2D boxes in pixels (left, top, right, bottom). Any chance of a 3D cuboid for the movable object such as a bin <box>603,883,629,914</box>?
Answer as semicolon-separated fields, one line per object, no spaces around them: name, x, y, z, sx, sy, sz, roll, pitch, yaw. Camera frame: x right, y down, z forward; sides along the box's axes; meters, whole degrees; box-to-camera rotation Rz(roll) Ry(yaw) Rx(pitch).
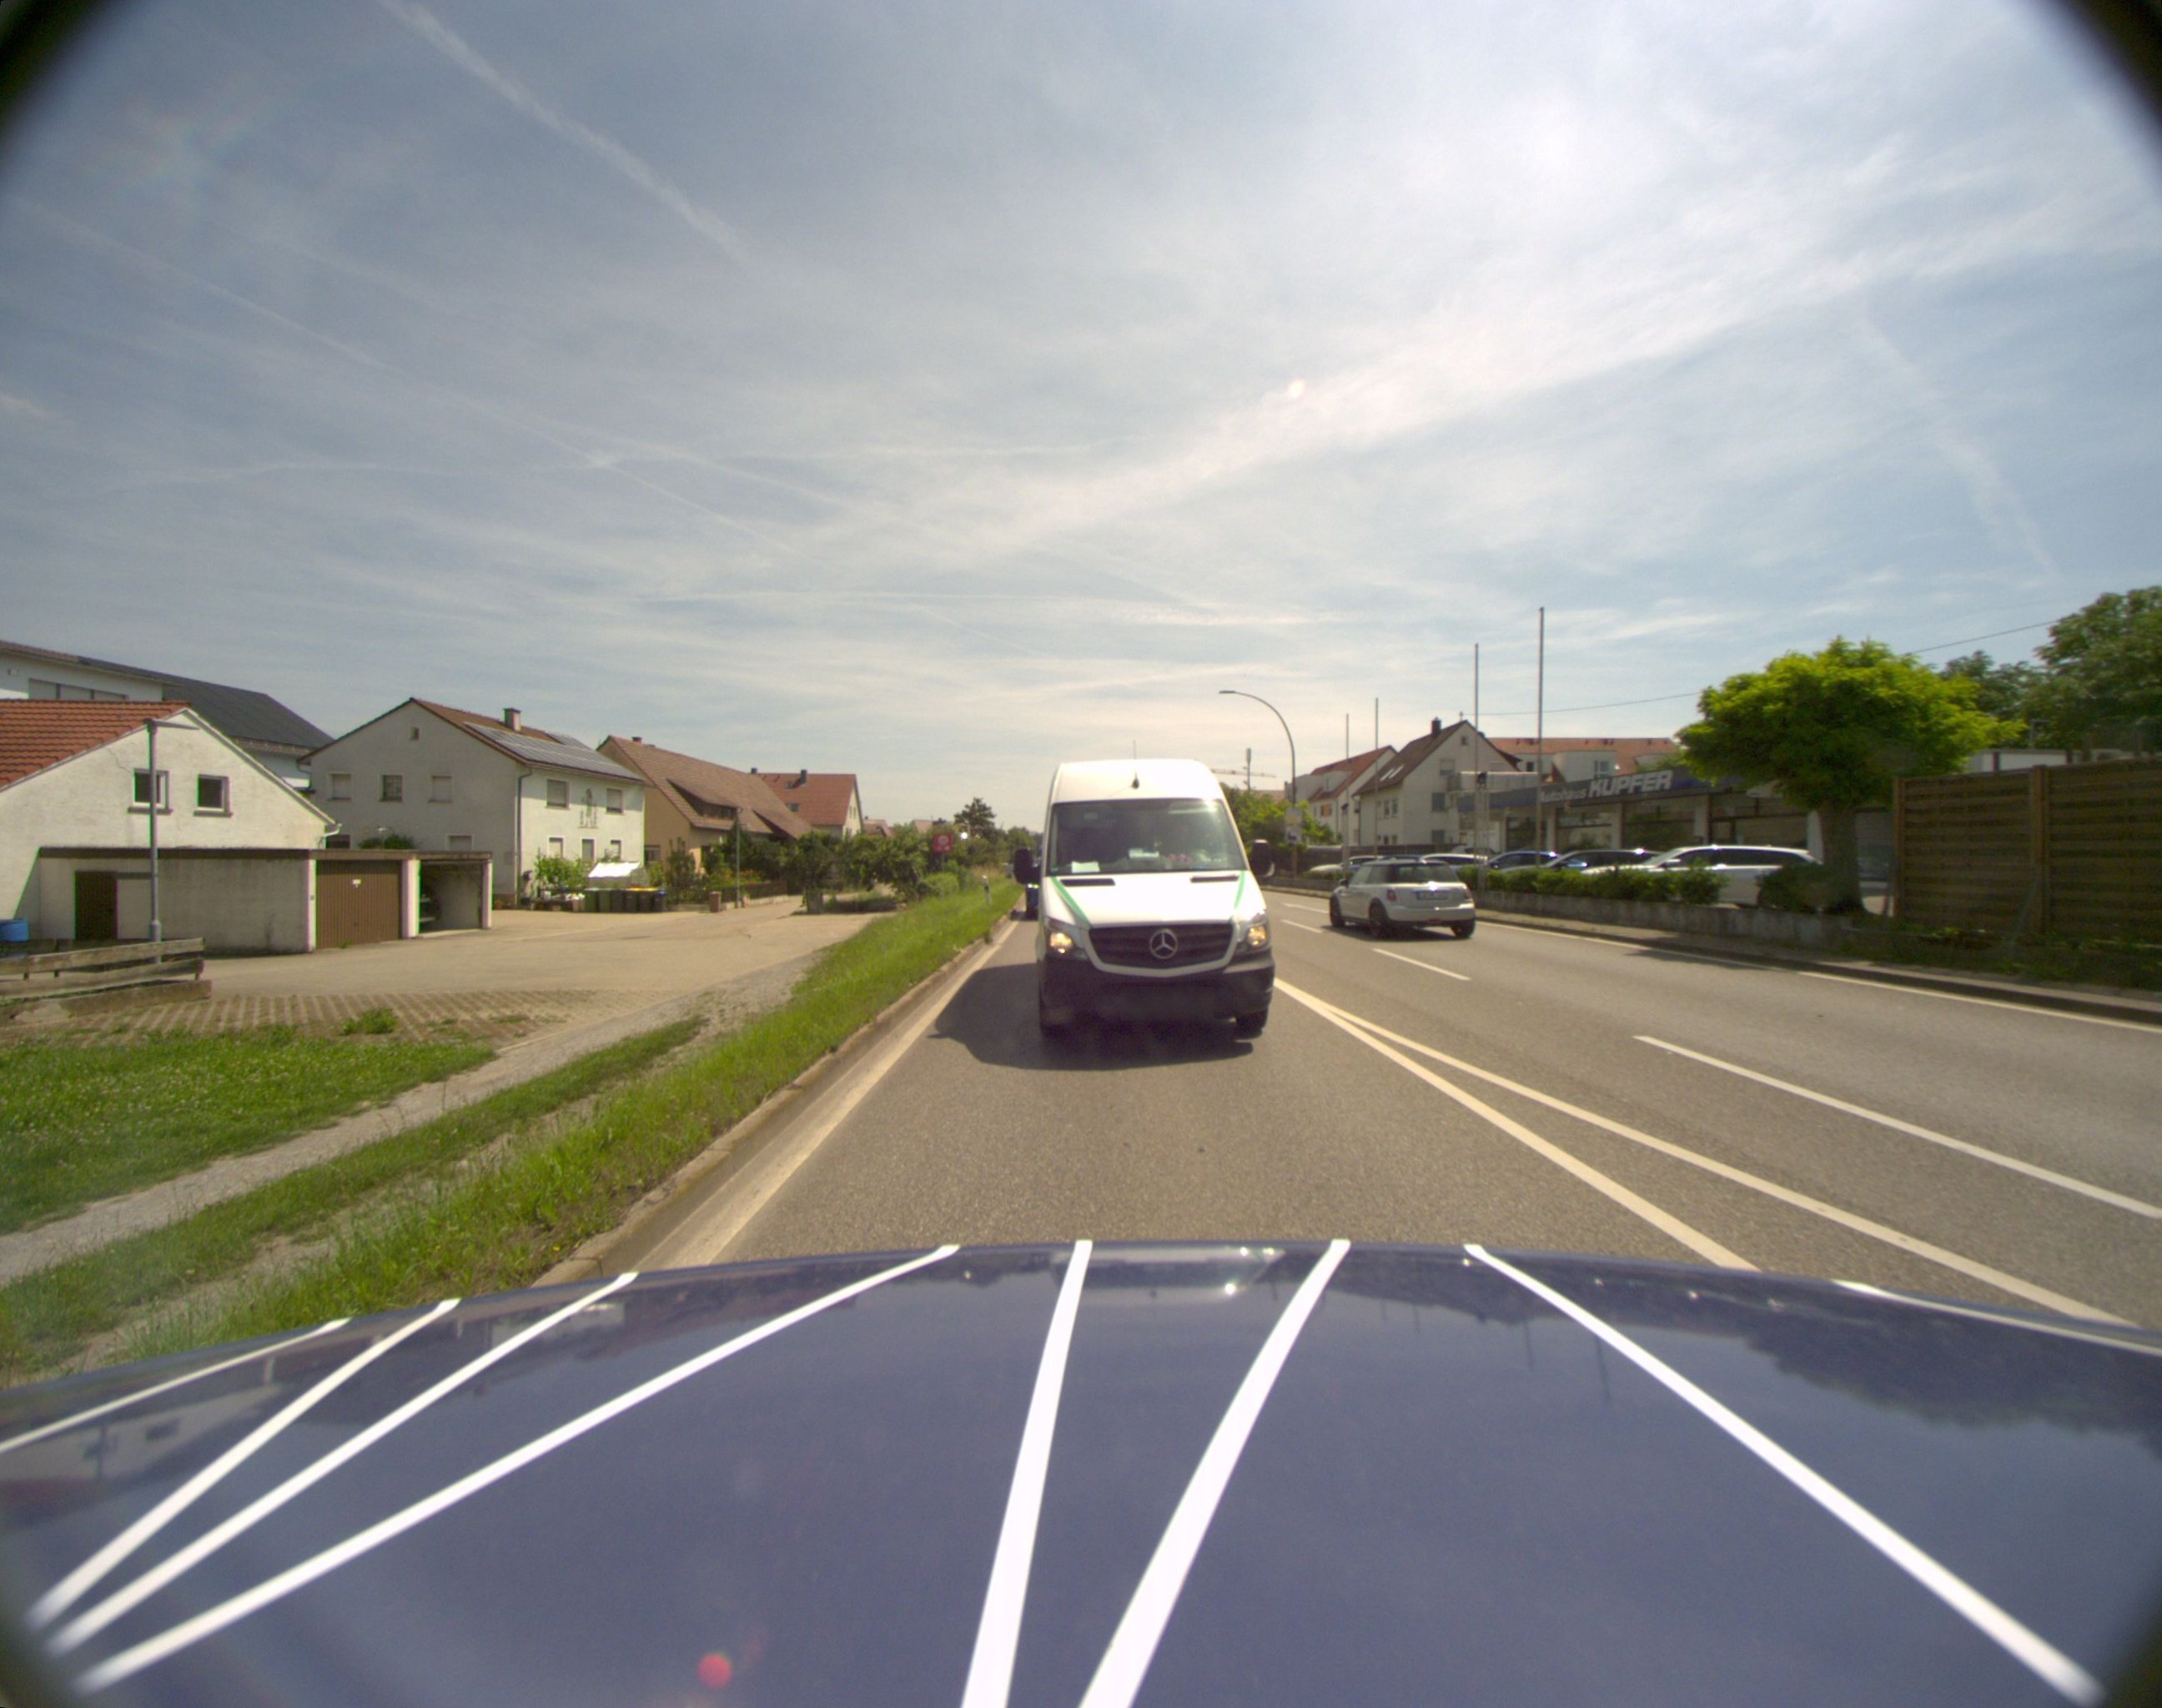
movable object such as a bin;-21.201;2.024;34.652;0.678;1.330;0.820;-2;0;-1

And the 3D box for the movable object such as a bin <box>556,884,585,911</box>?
movable object such as a bin;-23.051;1.967;34.332;0.740;1.149;0.830;-2;0;-1

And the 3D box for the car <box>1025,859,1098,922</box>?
car;-0.525;0.930;21.175;1.824;1.574;3.901;-1;0;-1

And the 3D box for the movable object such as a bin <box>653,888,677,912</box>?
movable object such as a bin;-18.854;2.075;34.448;0.645;1.021;0.756;-2;0;-1

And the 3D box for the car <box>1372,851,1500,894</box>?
car;13.659;0.700;29.355;4.303;1.510;2.003;-2;0;27

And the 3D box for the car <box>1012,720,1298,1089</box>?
car;0.499;0.376;8.269;1.978;2.583;5.633;-2;0;-1

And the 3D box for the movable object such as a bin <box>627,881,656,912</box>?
movable object such as a bin;-19.863;1.908;34.354;0.765;1.362;0.946;-2;0;-1

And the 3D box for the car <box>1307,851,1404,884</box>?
car;13.570;0.665;37.586;4.255;1.521;2.003;-2;0;26

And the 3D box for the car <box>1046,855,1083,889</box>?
car;-0.835;0.884;39.130;1.824;1.637;3.901;-1;0;-1

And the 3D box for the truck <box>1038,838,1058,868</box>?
truck;-4.410;-0.155;103.234;2.506;3.847;5.497;-2;0;-1

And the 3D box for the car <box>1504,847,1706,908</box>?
car;14.227;0.646;20.950;4.251;1.536;1.853;-2;0;23

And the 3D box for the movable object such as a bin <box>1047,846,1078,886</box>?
movable object such as a bin;-1.284;0.862;55.130;1.998;2.710;5.419;-1;0;1

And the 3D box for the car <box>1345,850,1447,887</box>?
car;13.888;0.633;33.477;3.990;1.455;2.003;-2;0;26

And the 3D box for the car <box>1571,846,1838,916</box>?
car;13.889;0.600;17.291;4.329;1.451;1.858;-1;0;24

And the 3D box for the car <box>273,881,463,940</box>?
car;-21.546;1.673;23.077;3.997;1.594;1.826;-1;0;0

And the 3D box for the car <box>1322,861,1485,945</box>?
car;6.034;0.846;14.668;1.626;1.373;3.560;-2;0;1

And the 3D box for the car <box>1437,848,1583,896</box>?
car;13.912;0.606;24.937;3.990;1.433;1.857;-2;0;25
